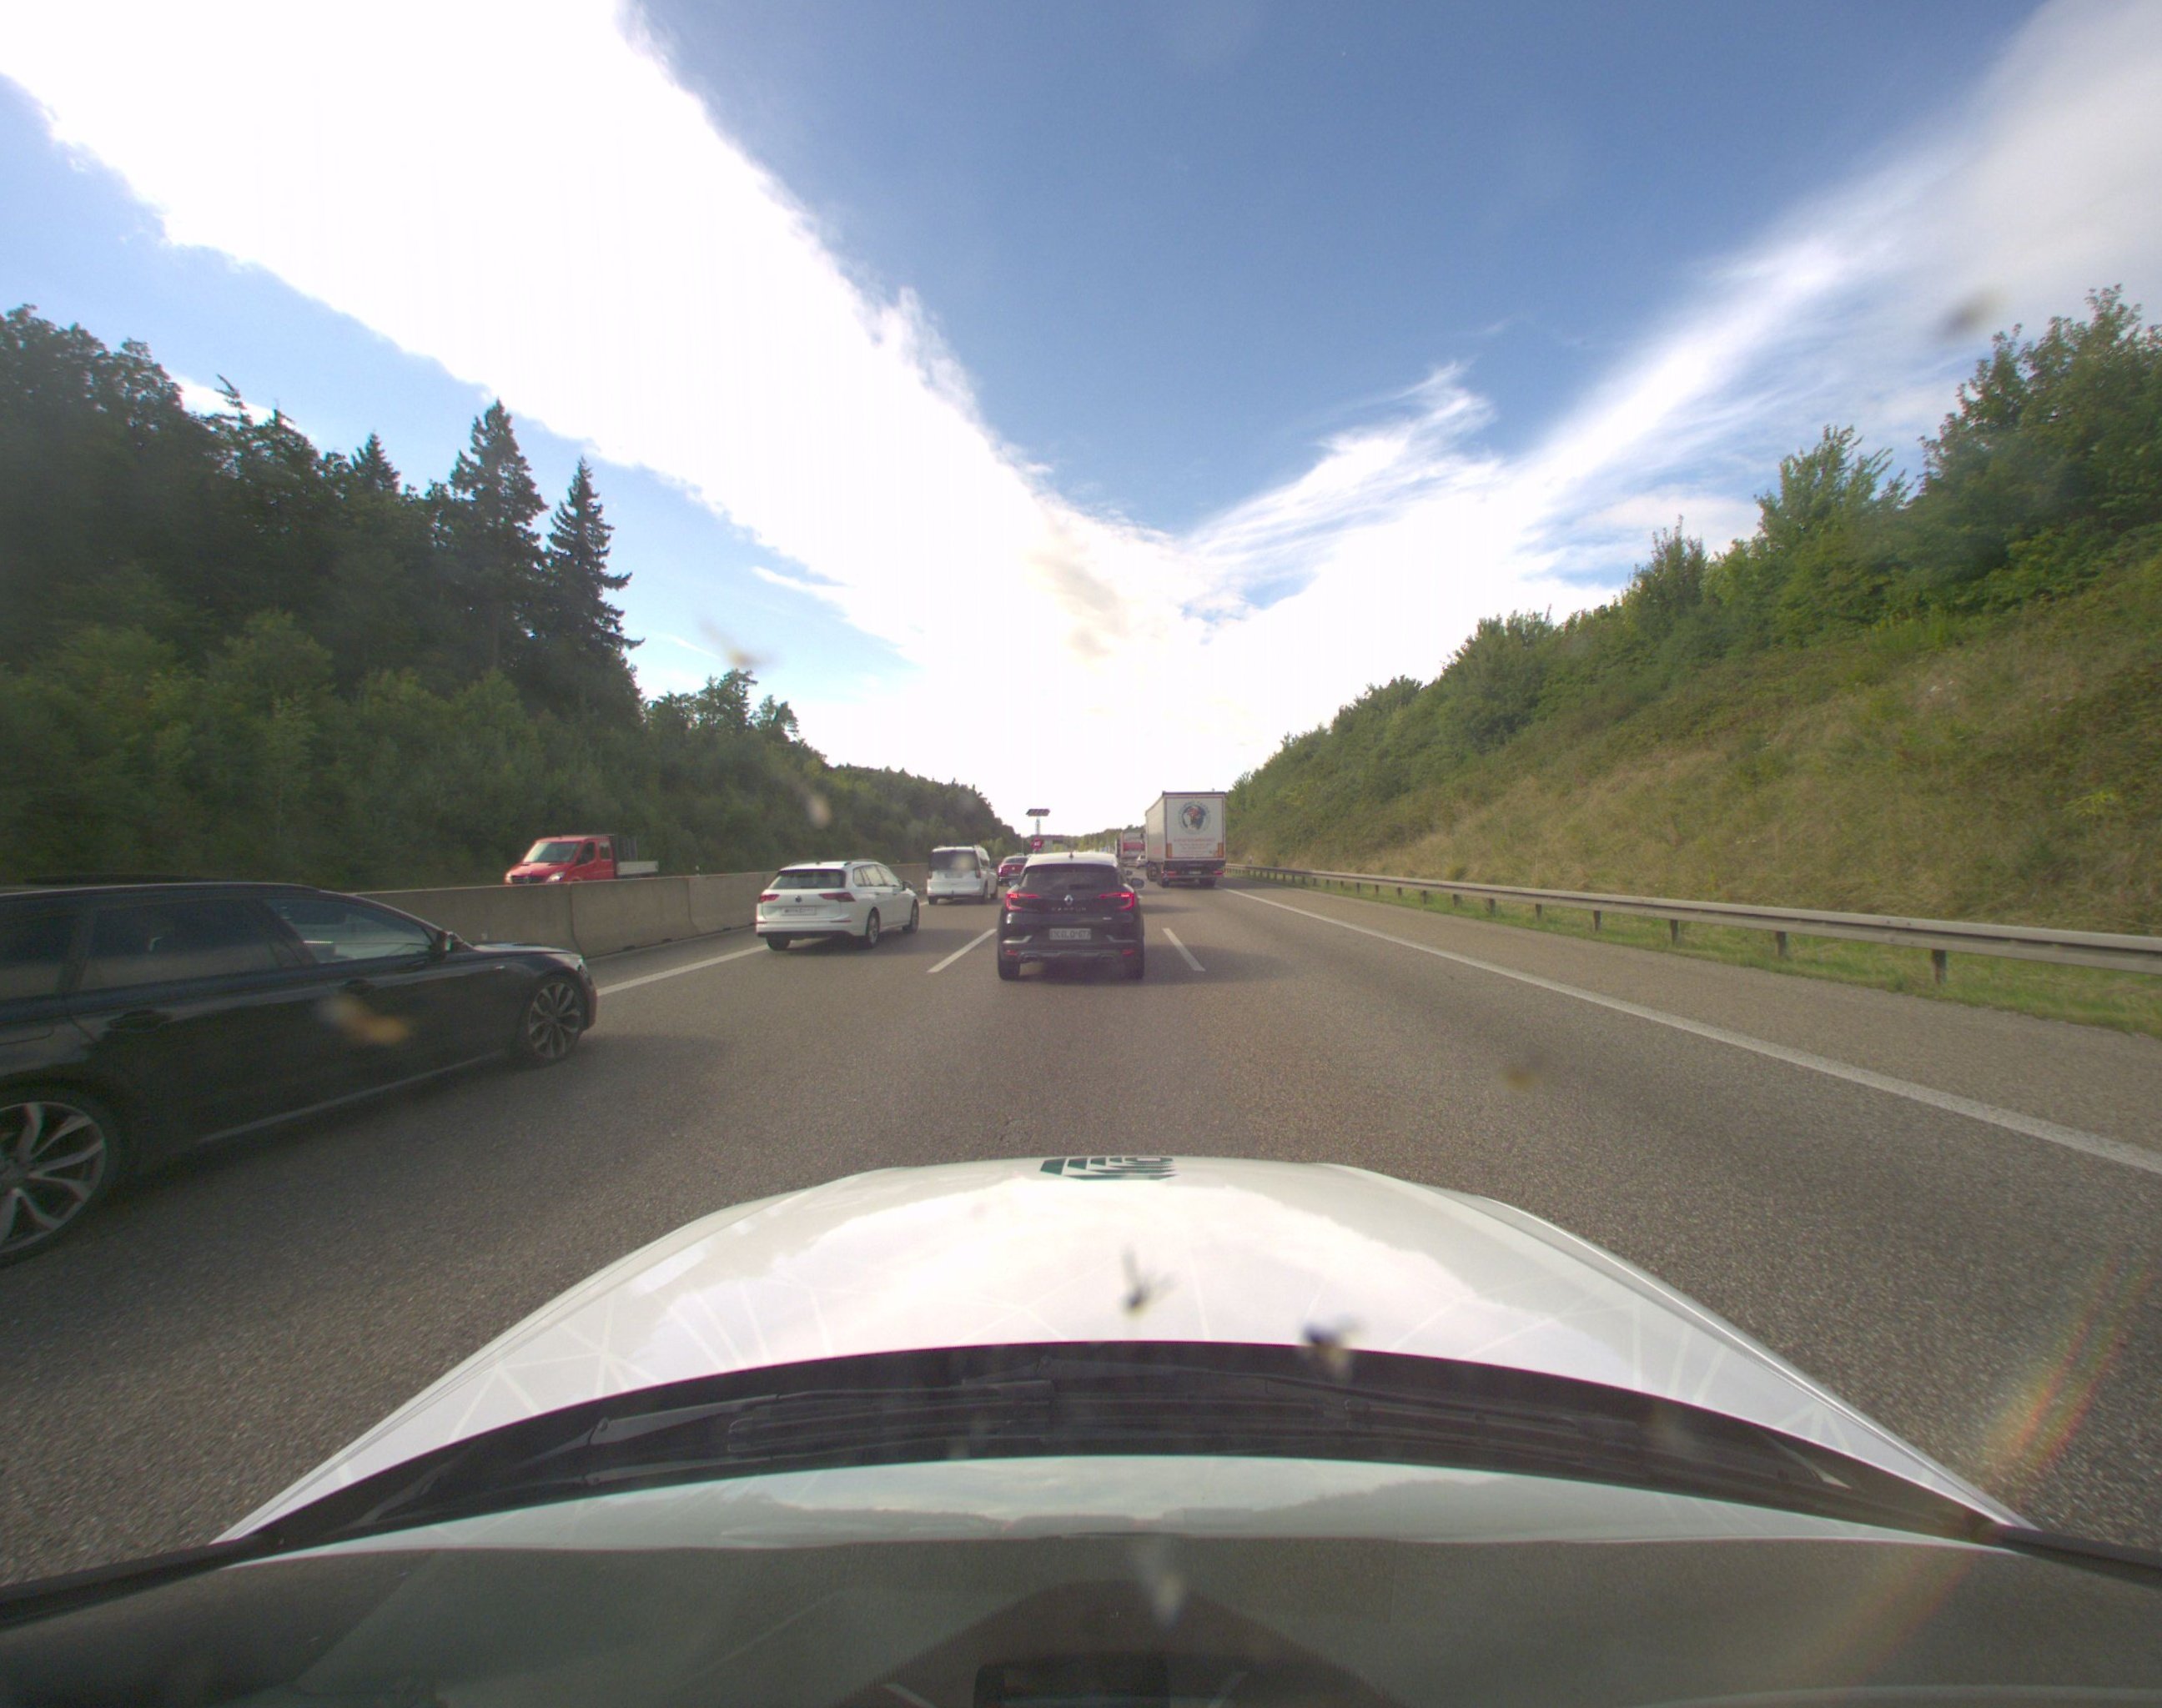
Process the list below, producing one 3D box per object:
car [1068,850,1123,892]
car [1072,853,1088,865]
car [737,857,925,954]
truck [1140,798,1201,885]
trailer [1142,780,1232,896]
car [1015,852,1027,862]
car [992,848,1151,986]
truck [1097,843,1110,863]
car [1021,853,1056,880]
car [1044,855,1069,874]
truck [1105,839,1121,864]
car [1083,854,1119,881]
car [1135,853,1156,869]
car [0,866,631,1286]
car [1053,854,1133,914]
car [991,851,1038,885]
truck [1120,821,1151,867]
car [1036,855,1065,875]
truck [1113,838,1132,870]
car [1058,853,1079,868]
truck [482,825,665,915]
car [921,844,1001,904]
[{"bbox_3d":[0.609,0.628,31.720,1.986,1.514,4.002,0,-1,2],"label":"car"},{"bbox_3d":[-0.124,0.727,111.974,1.986,1.613,4.002,-1,0,2],"label":"car"},{"bbox_3d":[-4.208,0.797,14.498,1.797,1.461,4.312,-1,0,3],"label":"car"},{"bbox_3d":[5.035,-0.692,46.851,2.986,4.667,5.941,-1,0,2],"label":"truck"},{"bbox_3d":[4.807,-0.675,39.642,2.991,4.661,13.295,-1,0,2],"label":"trailer"},{"bbox_3d":[-11.883,0.585,162.090,1.845,1.810,4.926,0,0,2],"label":"car"},{"bbox_3d":[0.036,0.731,11.334,1.796,1.552,4.005,-1,0,4],"label":"car"},{"bbox_3d":[6.232,-0.280,220.455,3.154,5.159,12.745,0,-1,3],"label":"truck"},{"bbox_3d":[-2.788,0.793,54.458,1.986,1.722,4.002,0,-1,2],"label":"car"},{"bbox_3d":[-2.210,0.948,73.727,1.986,1.613,4.002,0,-1,2],"label":"car"},{"bbox_3d":[7.394,-0.526,186.254,3.152,5.505,12.751,0,-1,4],"label":"truck"},{"bbox_3d":[1.203,0.754,47.561,1.986,1.514,4.002,0,-1,2],"label":"car"},{"bbox_3d":[6.288,0.674,79.690,1.798,1.533,3.926,0,-1,1],"label":"car"},{"bbox_3d":[-4.778,0.844,4.446,1.835,1.456,4.750,0,0,2],"label":"car"},{"bbox_3d":[0.391,0.774,22.499,1.986,1.514,4.002,0,-1,2],"label":"car"},{"bbox_3d":[-3.318,0.708,41.289,1.848,1.641,3.928,0,-1,3],"label":"car"},{"bbox_3d":[6.272,-1.051,95.148,3.351,5.044,12.745,0,-1,3],"label":"truck"},{"bbox_3d":[-2.445,0.887,66.193,1.986,1.613,4.002,0,-1,2],"label":"car"},{"bbox_3d":[7.326,0.033,145.094,3.154,5.505,12.745,0,-1,3],"label":"truck"},{"bbox_3d":[-1.317,0.676,88.937,1.986,1.613,4.002,-1,0,2],"label":"car"},{"bbox_3d":[-18.000,0.511,29.441,2.413,2.855,6.433,0,0,2],"label":"truck"},{"bbox_3d":[-3.829,0.626,26.724,1.905,1.789,4.418,0,-1,1],"label":"car"}]
